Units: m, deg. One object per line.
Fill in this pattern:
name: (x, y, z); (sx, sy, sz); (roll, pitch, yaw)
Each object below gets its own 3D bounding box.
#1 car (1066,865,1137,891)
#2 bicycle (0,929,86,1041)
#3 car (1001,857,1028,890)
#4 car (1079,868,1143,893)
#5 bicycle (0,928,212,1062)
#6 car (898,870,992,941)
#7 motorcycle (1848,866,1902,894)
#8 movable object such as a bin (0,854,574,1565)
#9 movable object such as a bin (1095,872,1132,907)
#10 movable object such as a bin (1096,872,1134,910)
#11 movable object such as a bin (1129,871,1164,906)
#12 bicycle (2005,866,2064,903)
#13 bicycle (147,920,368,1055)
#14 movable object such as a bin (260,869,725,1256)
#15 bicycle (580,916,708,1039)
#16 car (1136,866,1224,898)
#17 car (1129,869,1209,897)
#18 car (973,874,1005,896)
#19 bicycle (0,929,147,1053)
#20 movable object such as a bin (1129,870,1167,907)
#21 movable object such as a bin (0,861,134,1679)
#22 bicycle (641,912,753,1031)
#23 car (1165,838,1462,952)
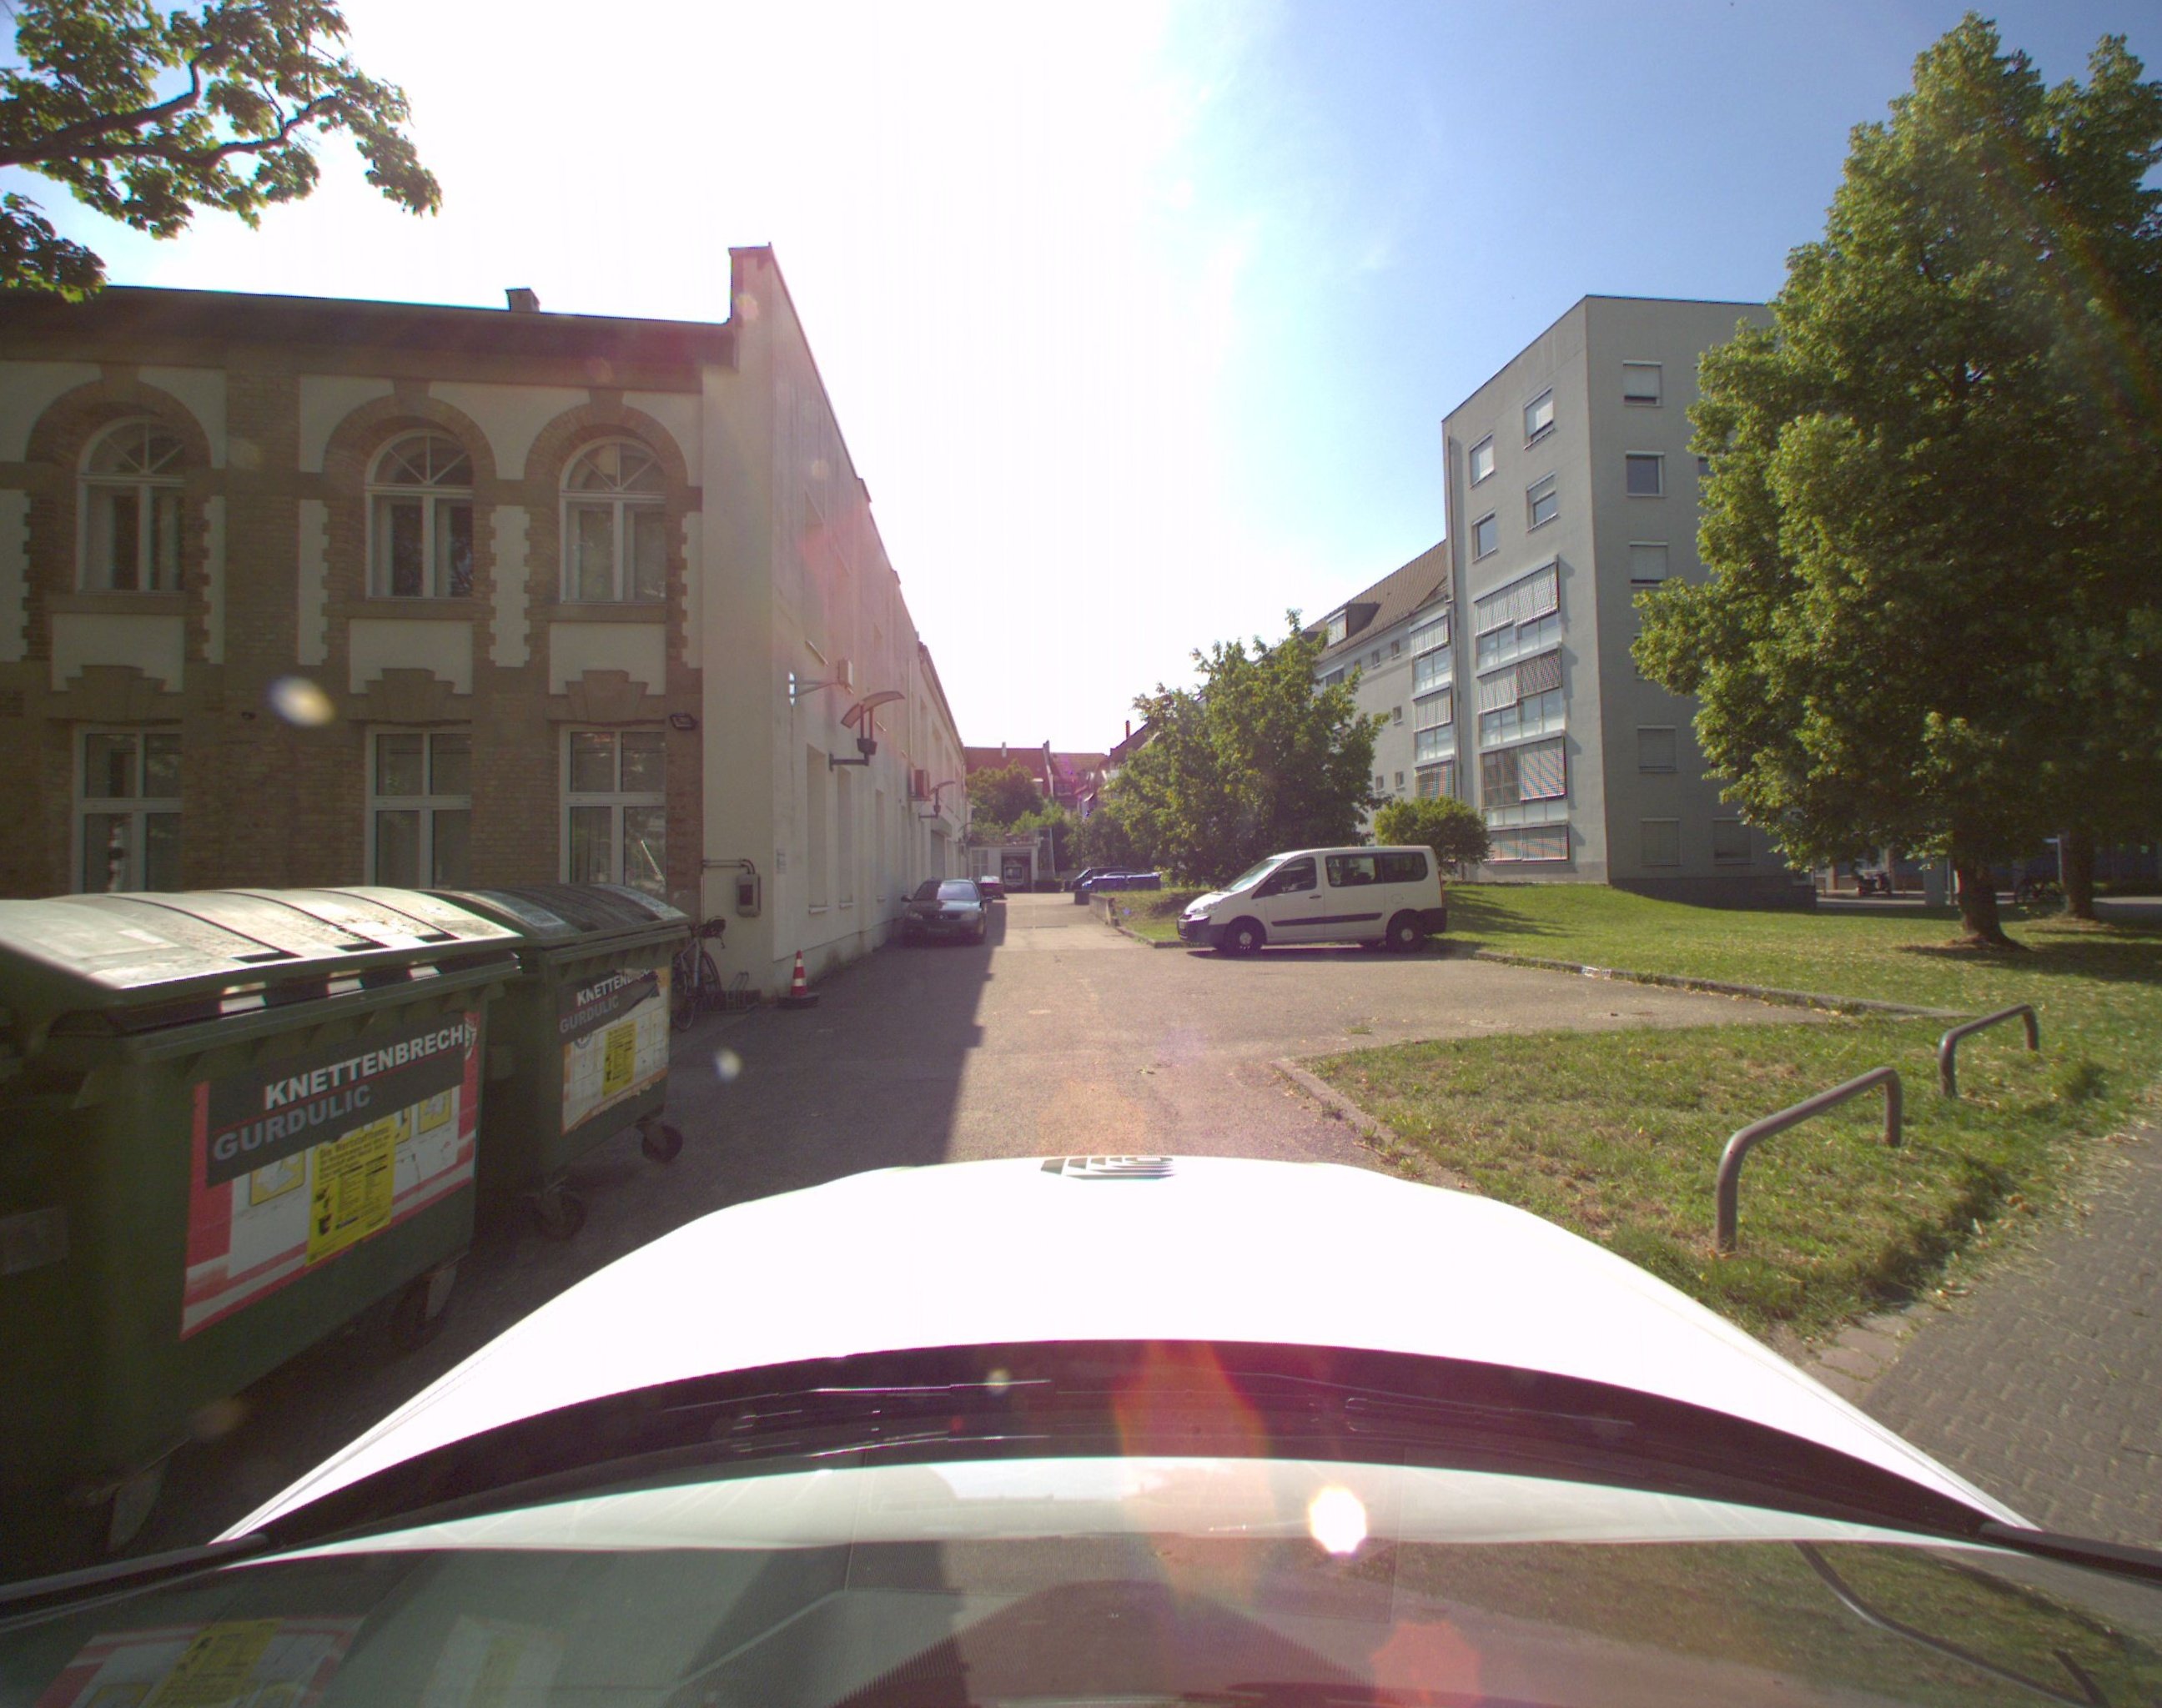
car: (1.533, 1.785, 61.532); (4.965, 1.767, 2.083); (-2, 0, -18)
bicycle: (-10.316, 1.258, 7.498); (0.443, 0.992, 1.539); (-2, 0, -3)
car: (-5.768, 1.732, 70.394); (2.171, 2.607, 6.721); (-2, -2, -5)
car: (2.110, 1.878, 58.325); (4.228, 1.532, 1.994); (-2, 0, -9)
bicycle: (-9.171, 1.260, 7.621); (0.443, 0.992, 1.539); (-2, 0, -3)
car: (-3.038, 1.176, 18.990); (1.834, 1.442, 4.419); (1, -3, -6)
motorcycle: (37.940, 1.238, 38.925); (2.052, 1.246, 0.629); (-1, -1, -5)
movable object such as a bin: (-2.466, 0.742, 2.319); (1.243, 1.431, 1.363); (-1, -1, -6)
movable object such as a bin: (1.273, 1.394, 32.368); (1.247, 1.355, 1.125); (-1, -1, -9)
movable object such as a bin: (1.262, 1.391, 30.647); (1.245, 1.319, 1.140); (-3, -3, -4)
movable object such as a bin: (2.608, 1.364, 32.735); (1.155, 1.336, 1.139); (-1, -1, -9)
bicycle: (28.036, 0.883, 23.948); (1.444, 1.049, 0.393); (-1, -1, -9)
bicycle: (-7.709, 1.199, 7.738); (0.443, 0.992, 1.665); (-2, 0, -2)
movable object such as a bin: (-2.555, 0.801, 3.825); (1.243, 1.431, 1.347); (-1, -1, -6)
bicycle: (-4.369, 1.193, 8.261); (0.443, 0.992, 1.628); (-2, 0, -2)
car: (4.903, 1.403, 40.581); (3.985, 1.427, 1.806); (-2, -1, -9)
car: (4.730, 1.554, 43.966); (3.982, 1.394, 1.685); (-2, -1, -6)
car: (-5.694, 1.901, 50.502); (1.849, 1.320, 3.991); (0, -1, -6)
bicycle: (-9.767, 1.263, 7.558); (0.443, 0.992, 1.539); (-2, 0, -3)
movable object such as a bin: (2.528, 1.307, 30.909); (1.244, 1.340, 1.141); (-2, -1, -3)
movable object such as a bin: (-2.409, 0.730, 0.932); (1.247, 1.431, 1.216); (-1, -1, -17)
bicycle: (-3.893, 1.147, 8.367); (0.443, 0.992, 1.539); (-2, 0, -3)
car: (4.254, 0.727, 15.429); (5.015, 1.933, 1.997); (-1, -1, -5)
